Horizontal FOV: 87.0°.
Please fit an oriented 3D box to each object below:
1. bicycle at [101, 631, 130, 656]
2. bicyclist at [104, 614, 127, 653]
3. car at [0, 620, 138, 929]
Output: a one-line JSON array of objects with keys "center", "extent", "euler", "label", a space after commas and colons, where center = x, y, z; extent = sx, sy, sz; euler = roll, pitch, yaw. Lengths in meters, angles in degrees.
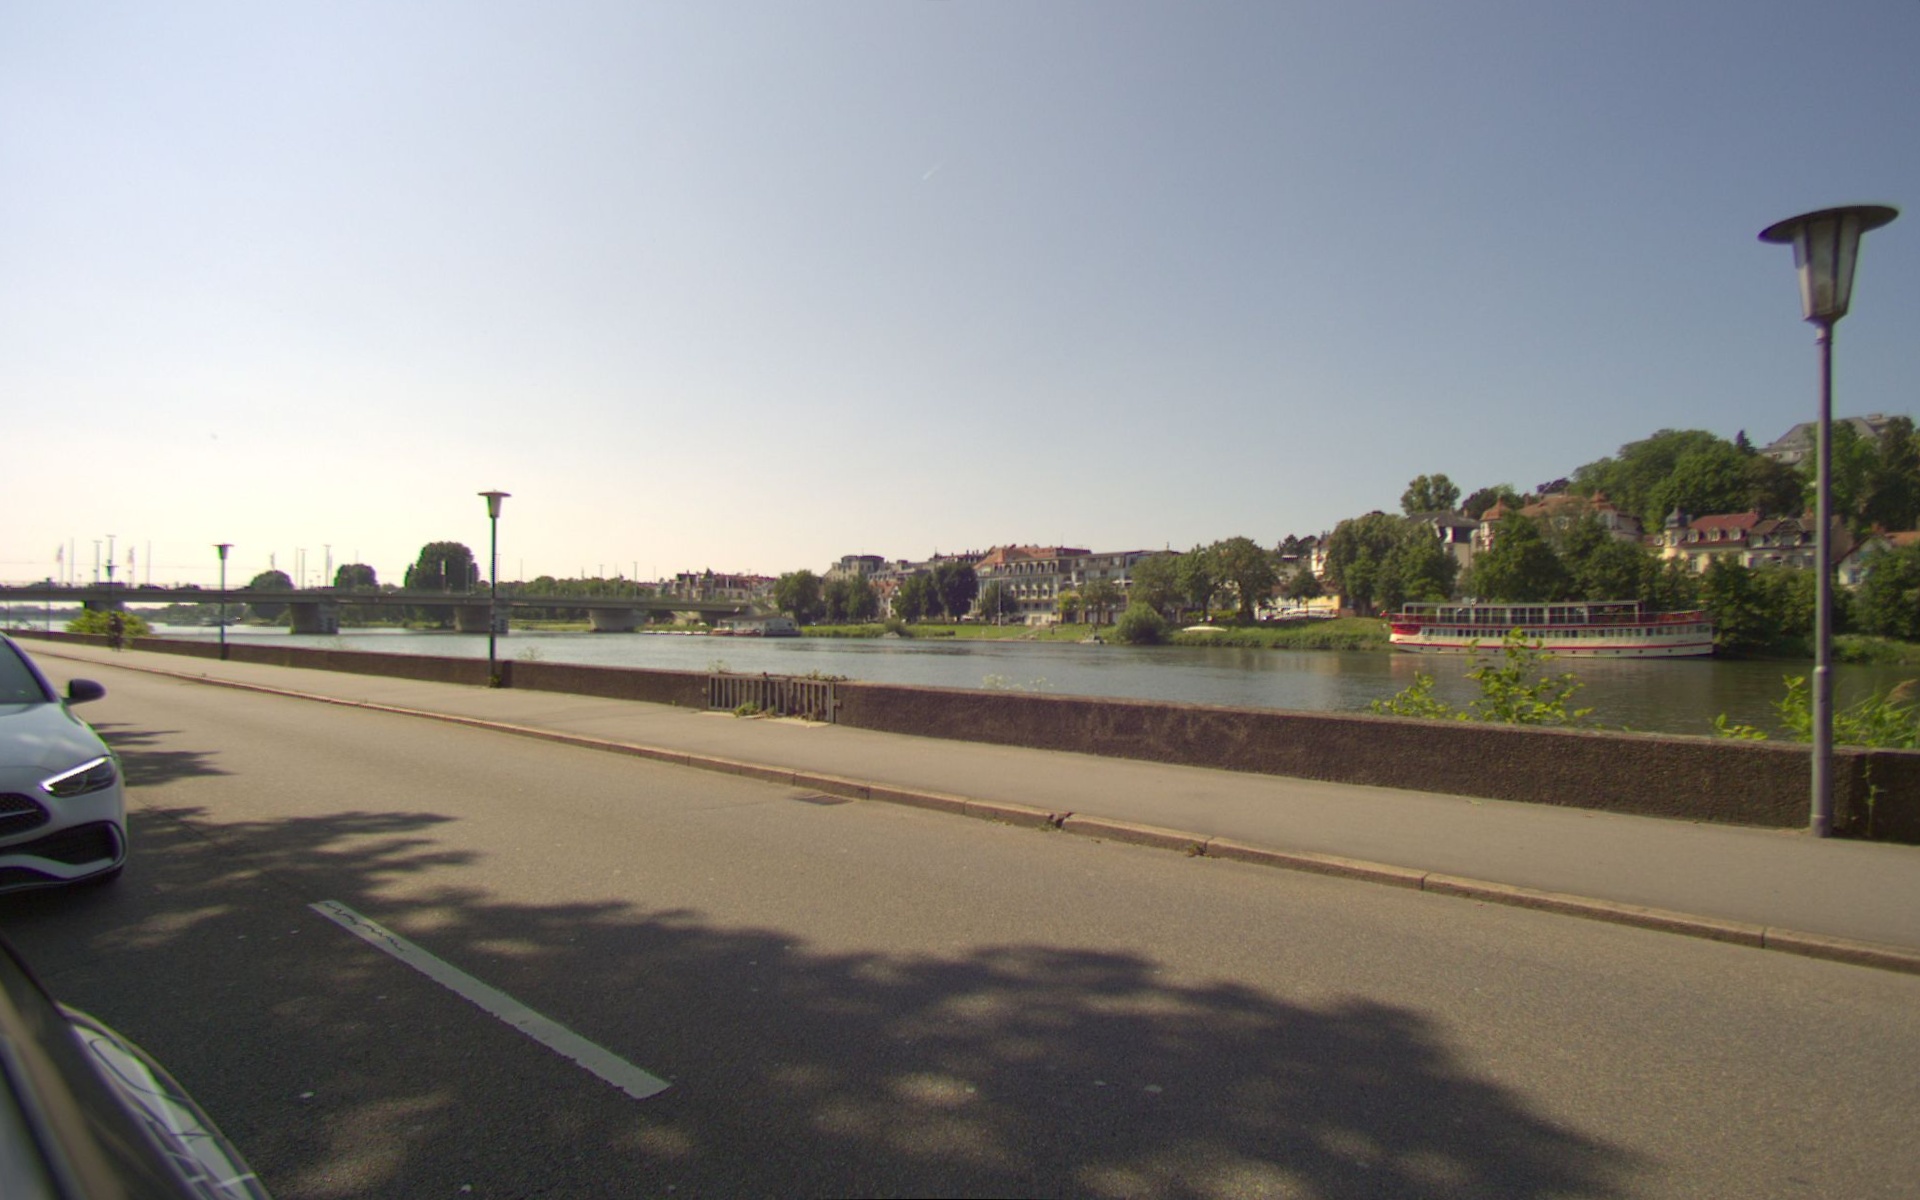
[{"center": [-36.544, 1.878, 43.783], "extent": [1.985, 1.019, 0.626], "euler": [-1, -2, 41], "label": "bicycle"}, {"center": [-36.549, 1.455, 43.798], "extent": [0.870, 1.686, 0.631], "euler": [-1, -2, 41], "label": "bicyclist"}, {"center": [-6.417, 0.852, 5.929], "extent": [4.551, 1.430, 1.806], "euler": [-1, -1, 42], "label": "car"}]
